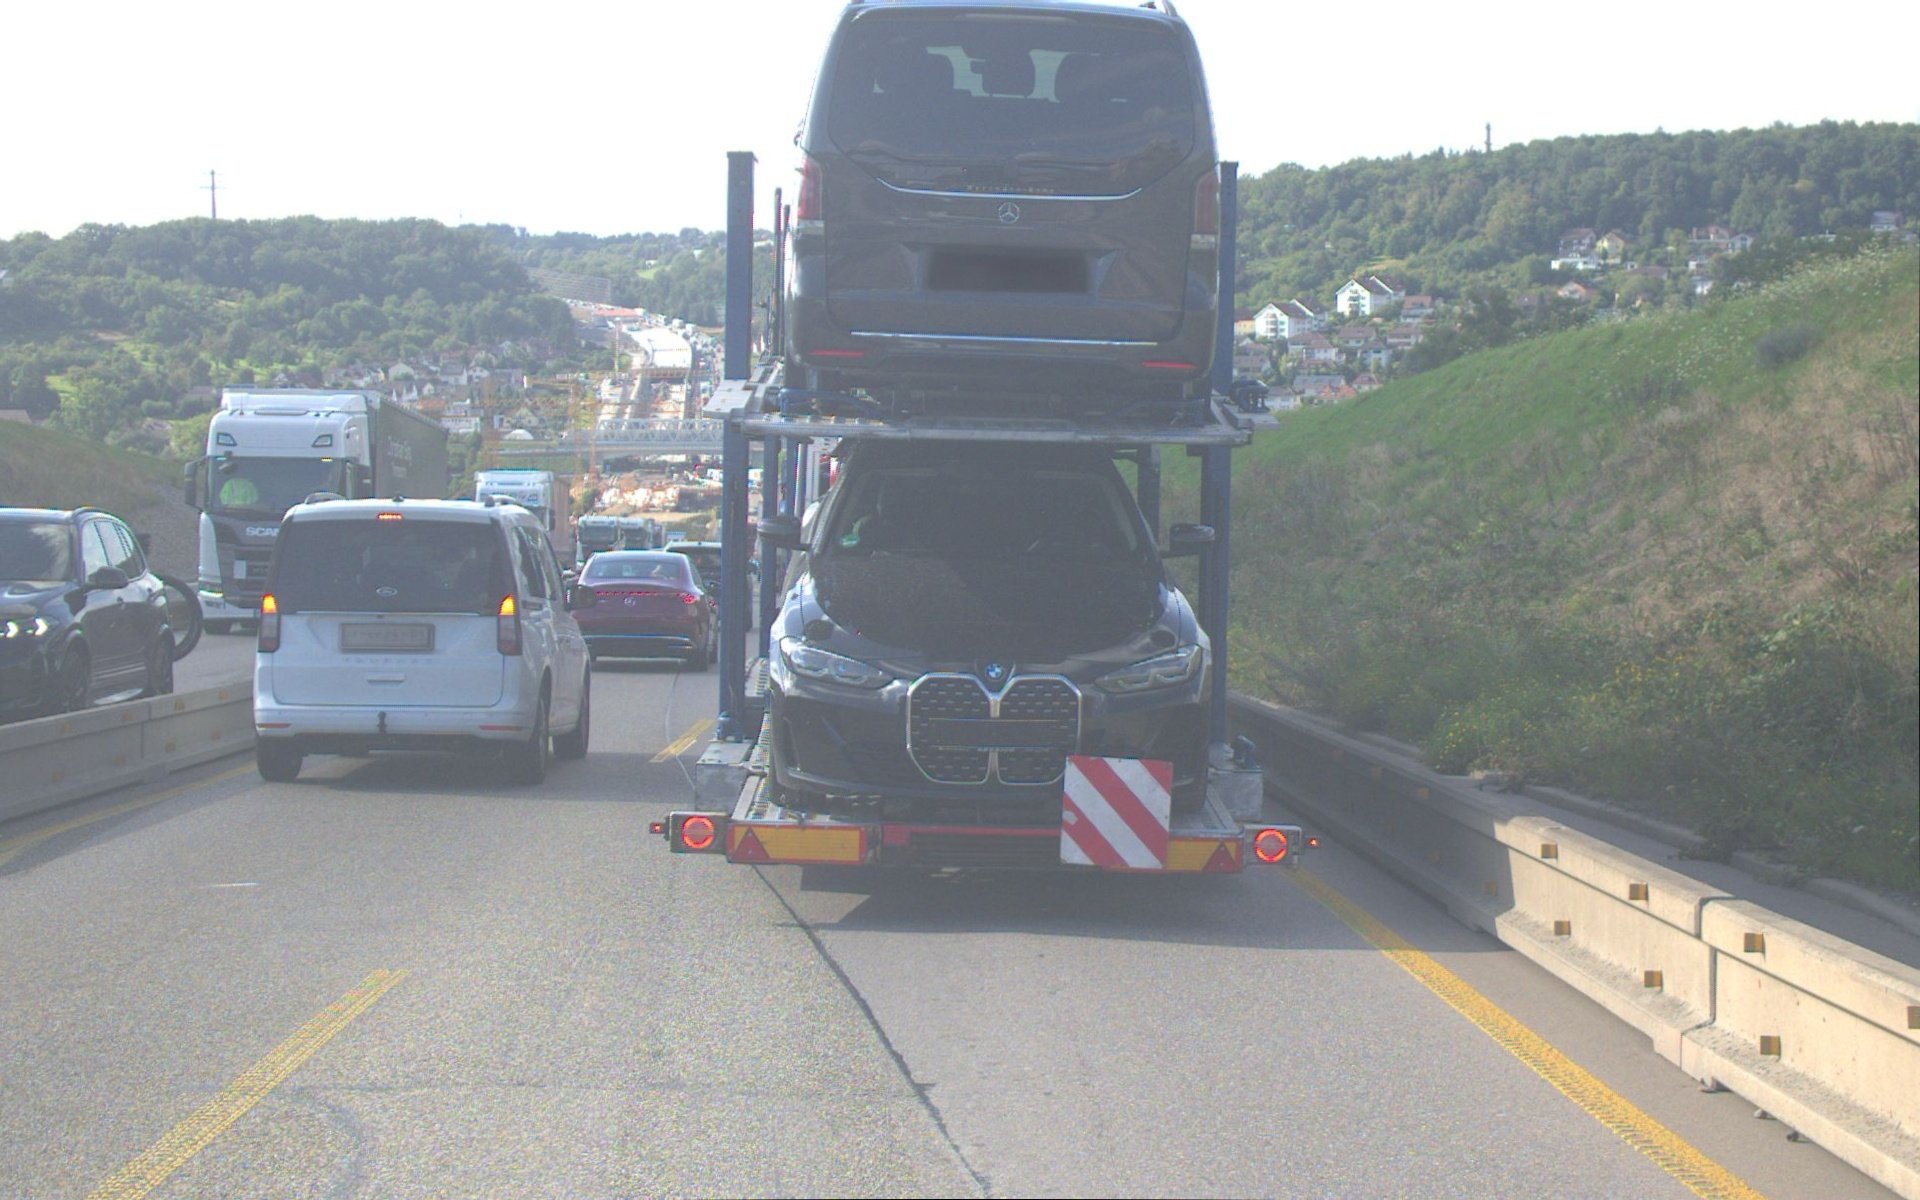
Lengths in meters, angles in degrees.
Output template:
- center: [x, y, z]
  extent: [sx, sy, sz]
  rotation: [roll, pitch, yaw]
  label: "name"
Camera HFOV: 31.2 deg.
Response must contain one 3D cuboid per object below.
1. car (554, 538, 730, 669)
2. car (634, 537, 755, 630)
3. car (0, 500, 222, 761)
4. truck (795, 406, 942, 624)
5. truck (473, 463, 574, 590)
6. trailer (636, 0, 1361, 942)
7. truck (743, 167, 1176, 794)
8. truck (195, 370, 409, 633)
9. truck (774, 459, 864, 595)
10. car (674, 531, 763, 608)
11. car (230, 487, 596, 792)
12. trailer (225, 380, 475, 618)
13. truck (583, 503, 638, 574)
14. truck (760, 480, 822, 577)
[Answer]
- center: [-3.969, 0.002, 43.506]
  extent: [1.823, 1.487, 4.685]
  rotation: [2, 1, -1]
  label: "car"
- center: [-4.912, -0.342, 64.093]
  extent: [1.993, 1.619, 4.750]
  rotation: [2, 1, -2]
  label: "car"
- center: [-7.196, 0.125, 26.040]
  extent: [1.948, 1.741, 5.579]
  rotation: [1, 2, 0]
  label: "car"
- center: [-2.199, -1.880, 77.904]
  extent: [2.863, 4.555, 11.659]
  rotation: [0, 1, -4]
  label: "truck"
- center: [-14.818, -2.479, 117.301]
  extent: [2.638, 4.085, 10.820]
  rotation: [0, 1, -3]
  label: "truck"
- center: [0.011, -0.818, 18.678]
  extent: [2.708, 4.015, 11.420]
  rotation: [0, 1, -1]
  label: "trailer"
- center: [-0.076, -0.795, 24.560]
  extent: [2.678, 3.908, 6.028]
  rotation: [0, 1, -1]
  label: "truck"
- center: [-10.882, -1.609, 57.307]
  extent: [2.614, 4.139, 5.782]
  rotation: [0, 1, -2]
  label: "truck"
- center: [-5.061, -2.546, 121.360]
  extent: [2.863, 4.555, 11.659]
  rotation: [0, 1, -4]
  label: "truck"
- center: [-5.186, -0.684, 74.210]
  extent: [1.796, 1.591, 4.743]
  rotation: [1, 1, -3]
  label: "car"
- center: [-3.592, 0.190, 23.330]
  extent: [1.823, 1.817, 4.456]
  rotation: [2, 1, -1]
  label: "car"
- center: [-11.140, -1.793, 64.190]
  extent: [2.614, 3.940, 13.875]
  rotation: [0, 1, -2]
  label: "trailer"
- center: [-20.889, -3.676, 206.004]
  extent: [2.638, 4.085, 10.820]
  rotation: [0, 1, -3]
  label: "truck"
- center: [-8.372, -3.501, 169.553]
  extent: [2.863, 4.555, 11.659]
  rotation: [0, 1, -4]
  label: "truck"
